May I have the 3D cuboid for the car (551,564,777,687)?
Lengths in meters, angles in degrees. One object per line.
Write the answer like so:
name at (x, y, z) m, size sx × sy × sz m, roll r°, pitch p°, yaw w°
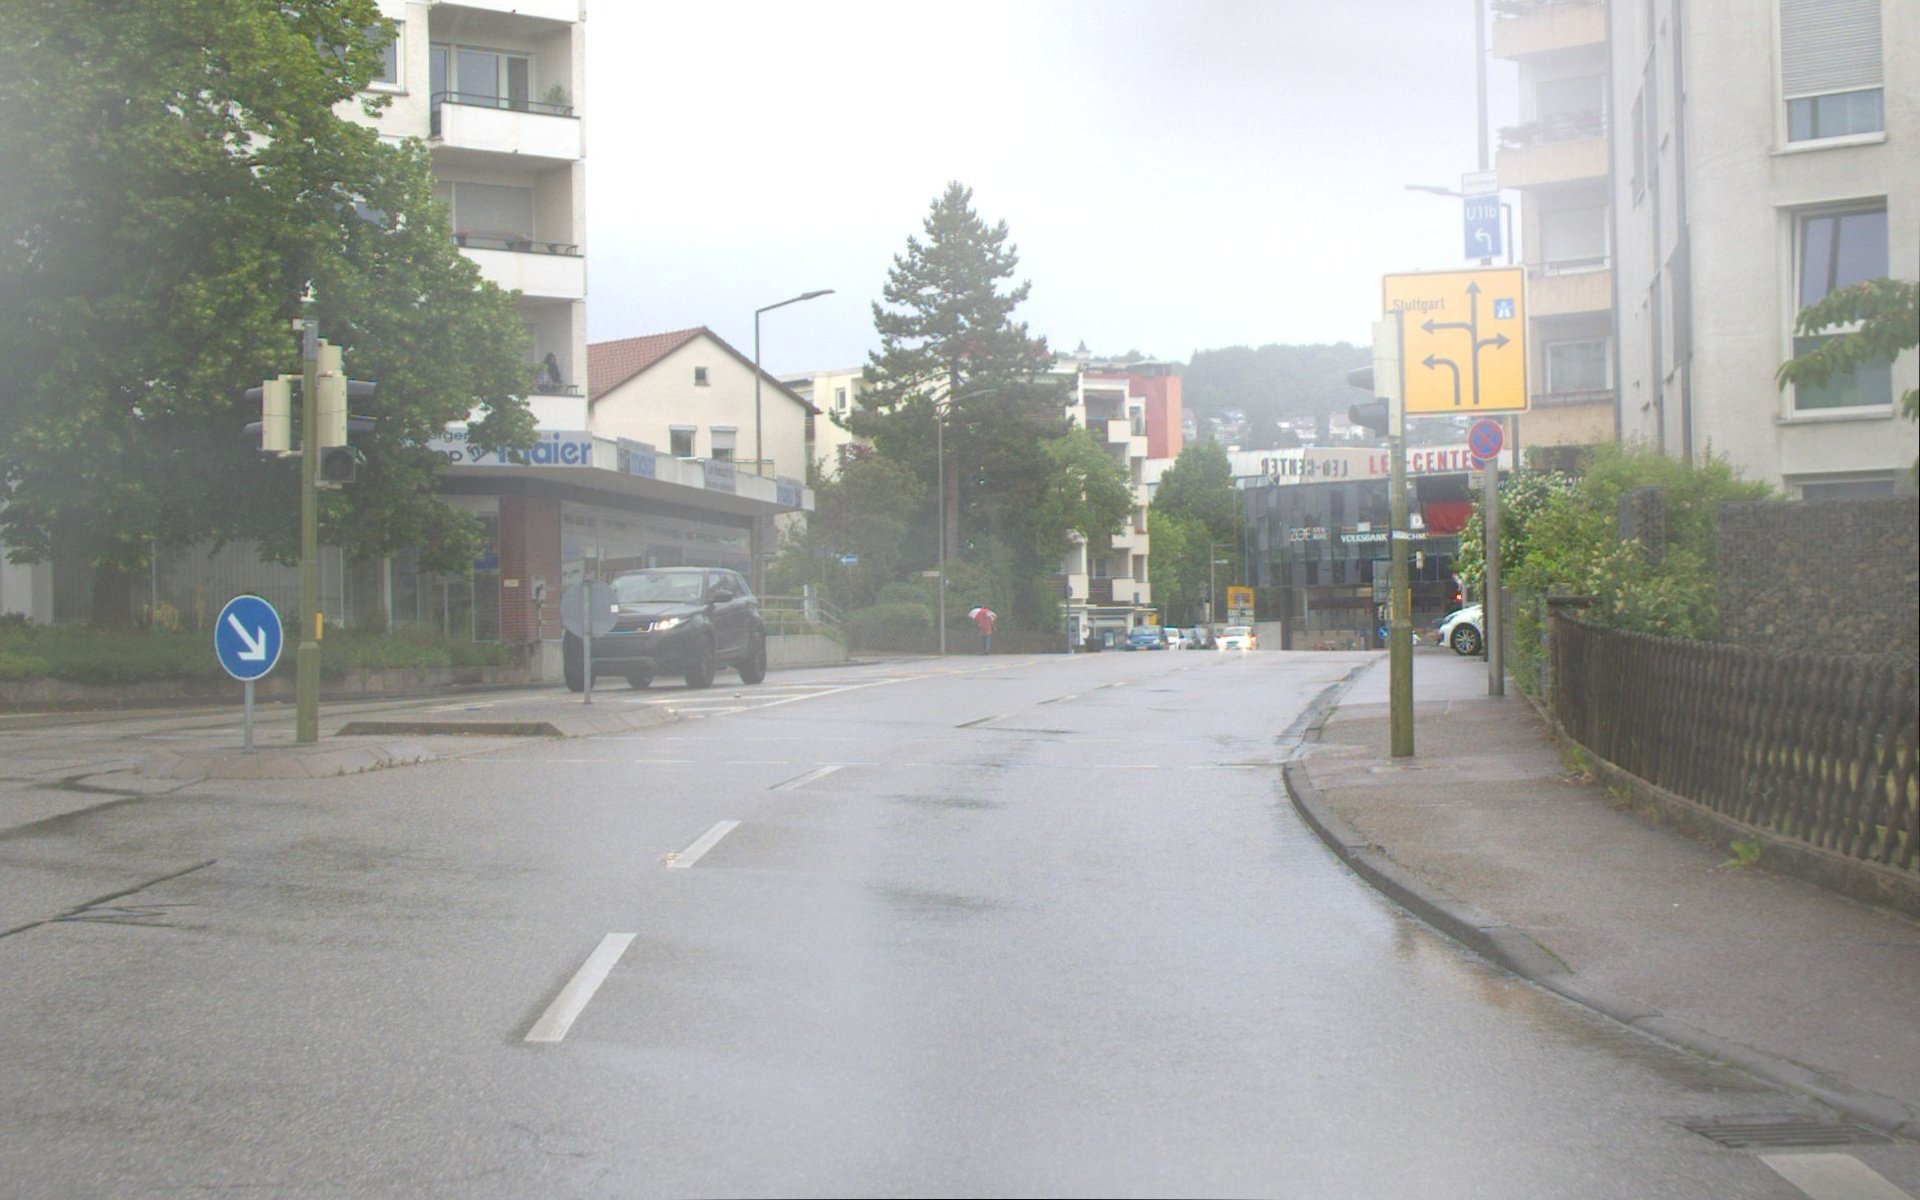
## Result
car at (-3.895, 0.303, 45.939) m, size 1.803 × 1.551 × 4.316 m, roll 0°, pitch 1°, yaw 12°

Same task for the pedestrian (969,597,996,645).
pedestrian at (0.753, 0.716, 116.681) m, size 0.869 × 1.601 × 1.103 m, roll -1°, pitch -2°, yaw 2°

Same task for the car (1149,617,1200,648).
car at (10.681, 1.627, 171.160) m, size 1.935 × 1.536 × 4.518 m, roll -1°, pitch -1°, yaw 11°

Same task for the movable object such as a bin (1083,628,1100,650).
movable object such as a bin at (5.987, 1.781, 156.143) m, size 0.648 × 0.962 × 0.682 m, roll -1°, pitch -1°, yaw 11°

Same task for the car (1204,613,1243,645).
car at (12.935, 1.415, 168.667) m, size 1.698 × 1.404 × 3.999 m, roll -3°, pitch 0°, yaw 6°

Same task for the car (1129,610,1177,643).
car at (8.980, 1.234, 159.856) m, size 1.652 × 1.516 × 4.322 m, roll -1°, pitch -1°, yaw 11°

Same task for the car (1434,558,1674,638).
car at (11.684, -0.047, 67.722) m, size 4.266 × 1.489 × 1.869 m, roll 0°, pitch 2°, yaw 37°
